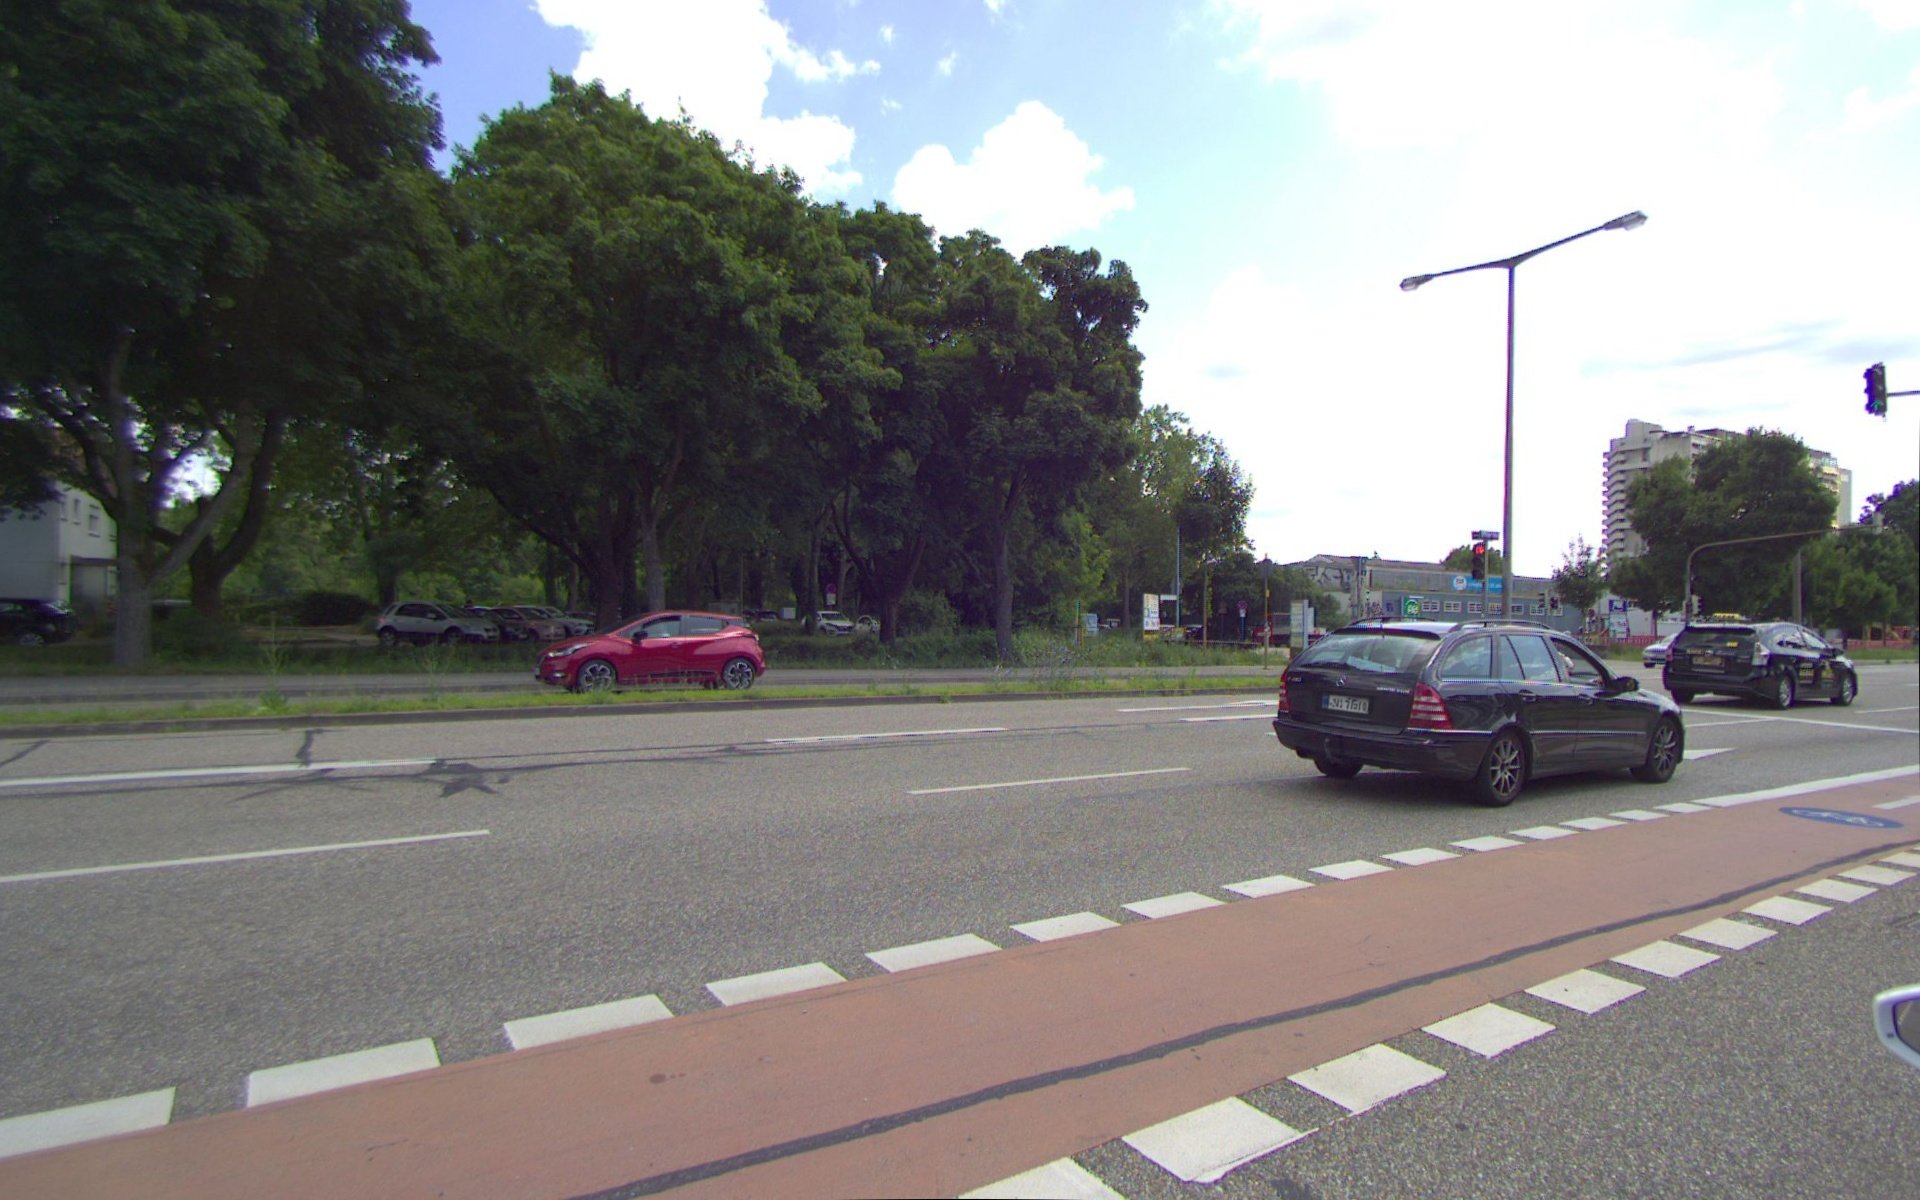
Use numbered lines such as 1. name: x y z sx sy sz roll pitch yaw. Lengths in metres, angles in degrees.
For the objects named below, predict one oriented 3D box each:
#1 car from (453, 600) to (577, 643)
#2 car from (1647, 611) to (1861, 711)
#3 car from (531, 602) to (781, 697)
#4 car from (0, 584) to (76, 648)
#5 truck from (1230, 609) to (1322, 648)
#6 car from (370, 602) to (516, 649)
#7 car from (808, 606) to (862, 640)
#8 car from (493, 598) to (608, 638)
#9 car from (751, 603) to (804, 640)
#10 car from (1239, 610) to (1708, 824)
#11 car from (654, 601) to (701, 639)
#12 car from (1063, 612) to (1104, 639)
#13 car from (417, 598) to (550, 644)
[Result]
1. car: -17.442 0.842 39.483 3.942 1.608 2.001 -1 -1 6
2. car: 15.203 1.118 19.186 4.290 1.690 1.777 2 0 -31
3. car: -5.465 0.862 18.197 3.958 1.532 1.876 2 0 -34
4. car: -26.260 0.389 26.503 4.331 1.679 1.790 2 0 -42
5. truck: 21.653 1.933 69.258 2.987 2.472 6.971 1 -1 -12
6. car: -17.658 0.879 34.417 3.941 1.503 2.001 1 -1 6
7. car: -6.703 1.222 53.568 2.044 1.748 4.111 1 -1 -19
8. car: -17.077 0.762 41.966 3.941 1.565 2.001 1 -1 6
9. car: -9.370 1.097 51.277 2.014 1.748 4.559 1 -1 -19
10. car: 4.720 0.901 9.044 4.384 1.485 1.745 2 0 -32
11. car: -13.740 0.982 48.731 1.793 1.750 4.106 1 -1 -22
12. car: 9.112 1.853 74.217 1.904 1.817 3.611 2 0 -12
13. car: -17.516 0.779 37.050 3.941 1.608 2.001 1 -1 6
